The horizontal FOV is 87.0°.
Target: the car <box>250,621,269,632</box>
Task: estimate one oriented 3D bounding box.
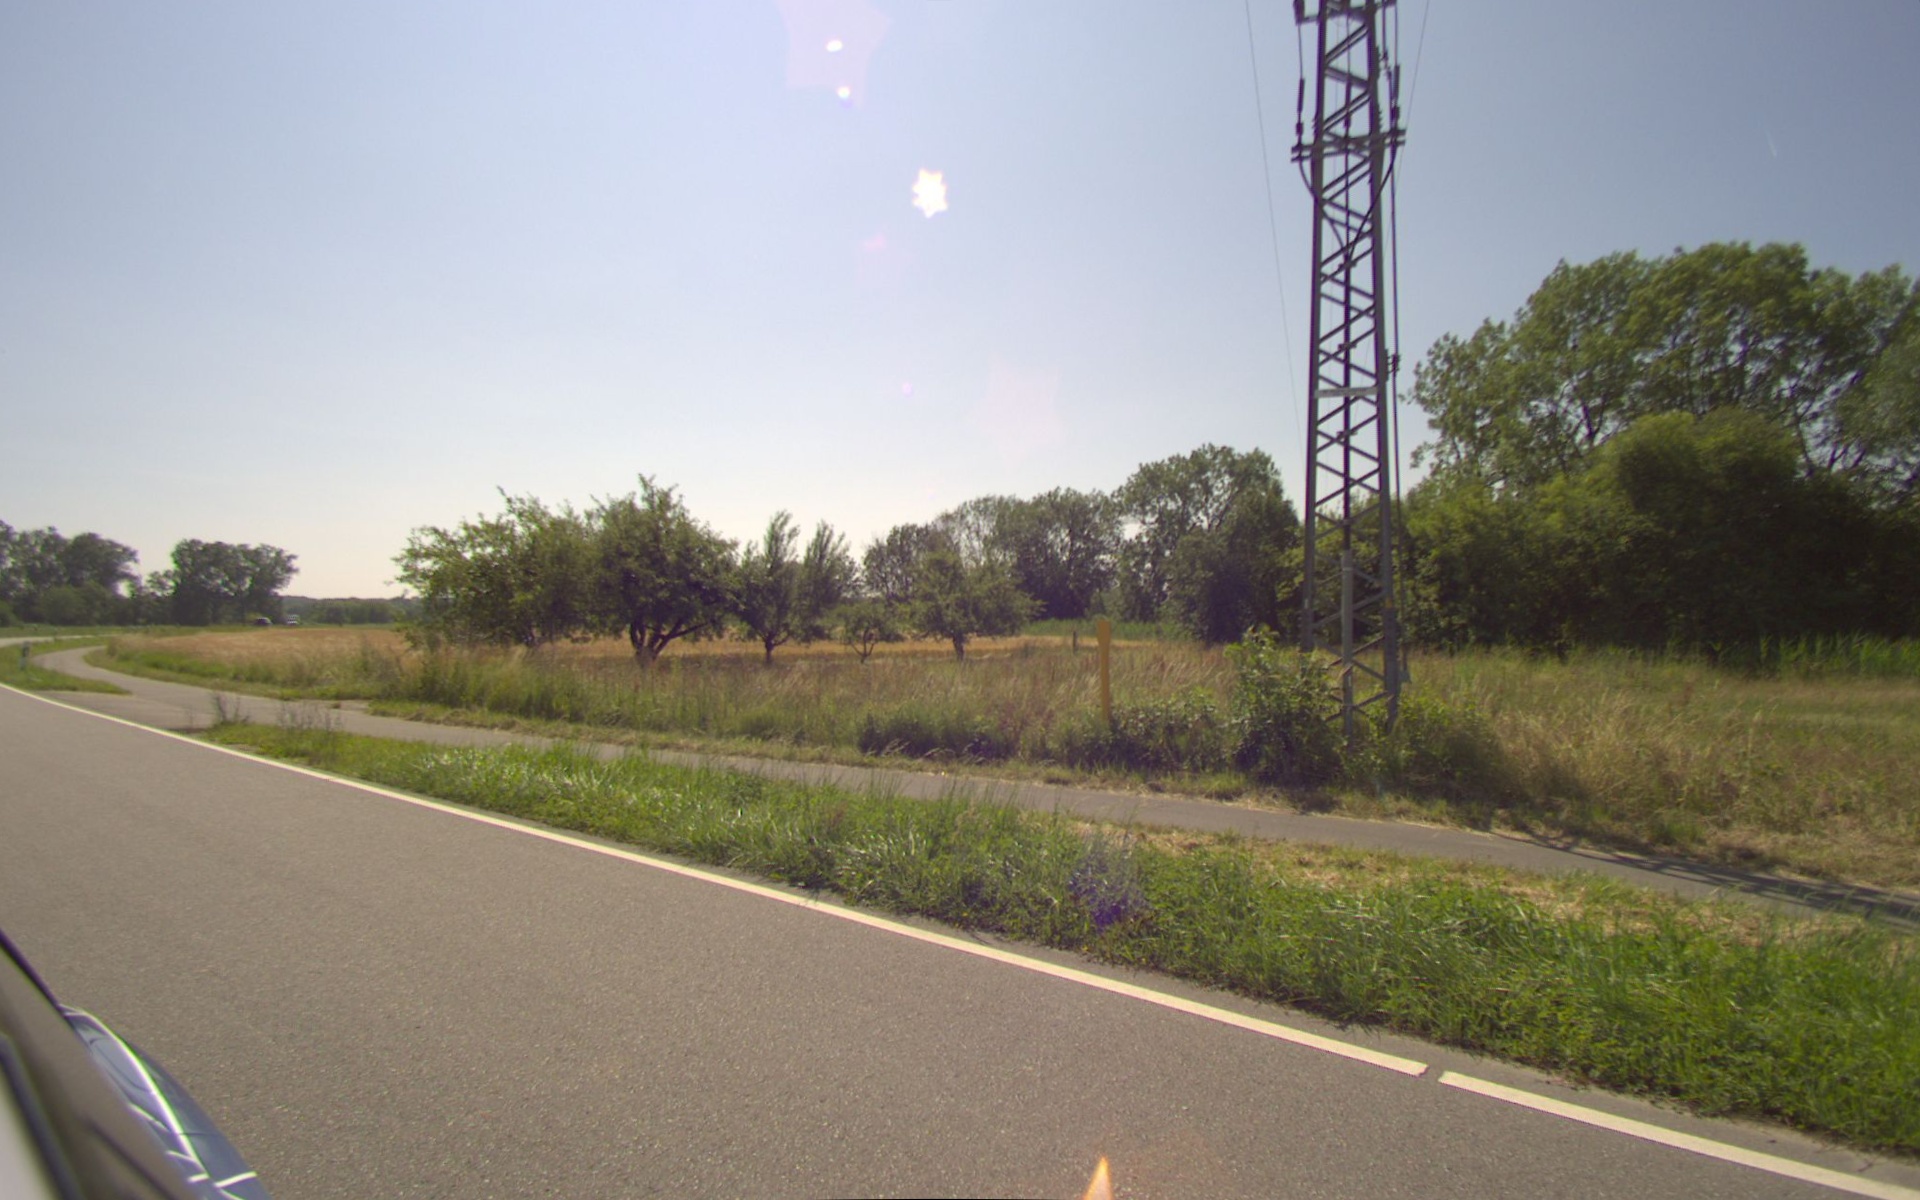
[{"bbox_3d":[-107.555,4.077,155.398,1.860,1.728,4.027,2,-3,-27],"label":"car"}]
